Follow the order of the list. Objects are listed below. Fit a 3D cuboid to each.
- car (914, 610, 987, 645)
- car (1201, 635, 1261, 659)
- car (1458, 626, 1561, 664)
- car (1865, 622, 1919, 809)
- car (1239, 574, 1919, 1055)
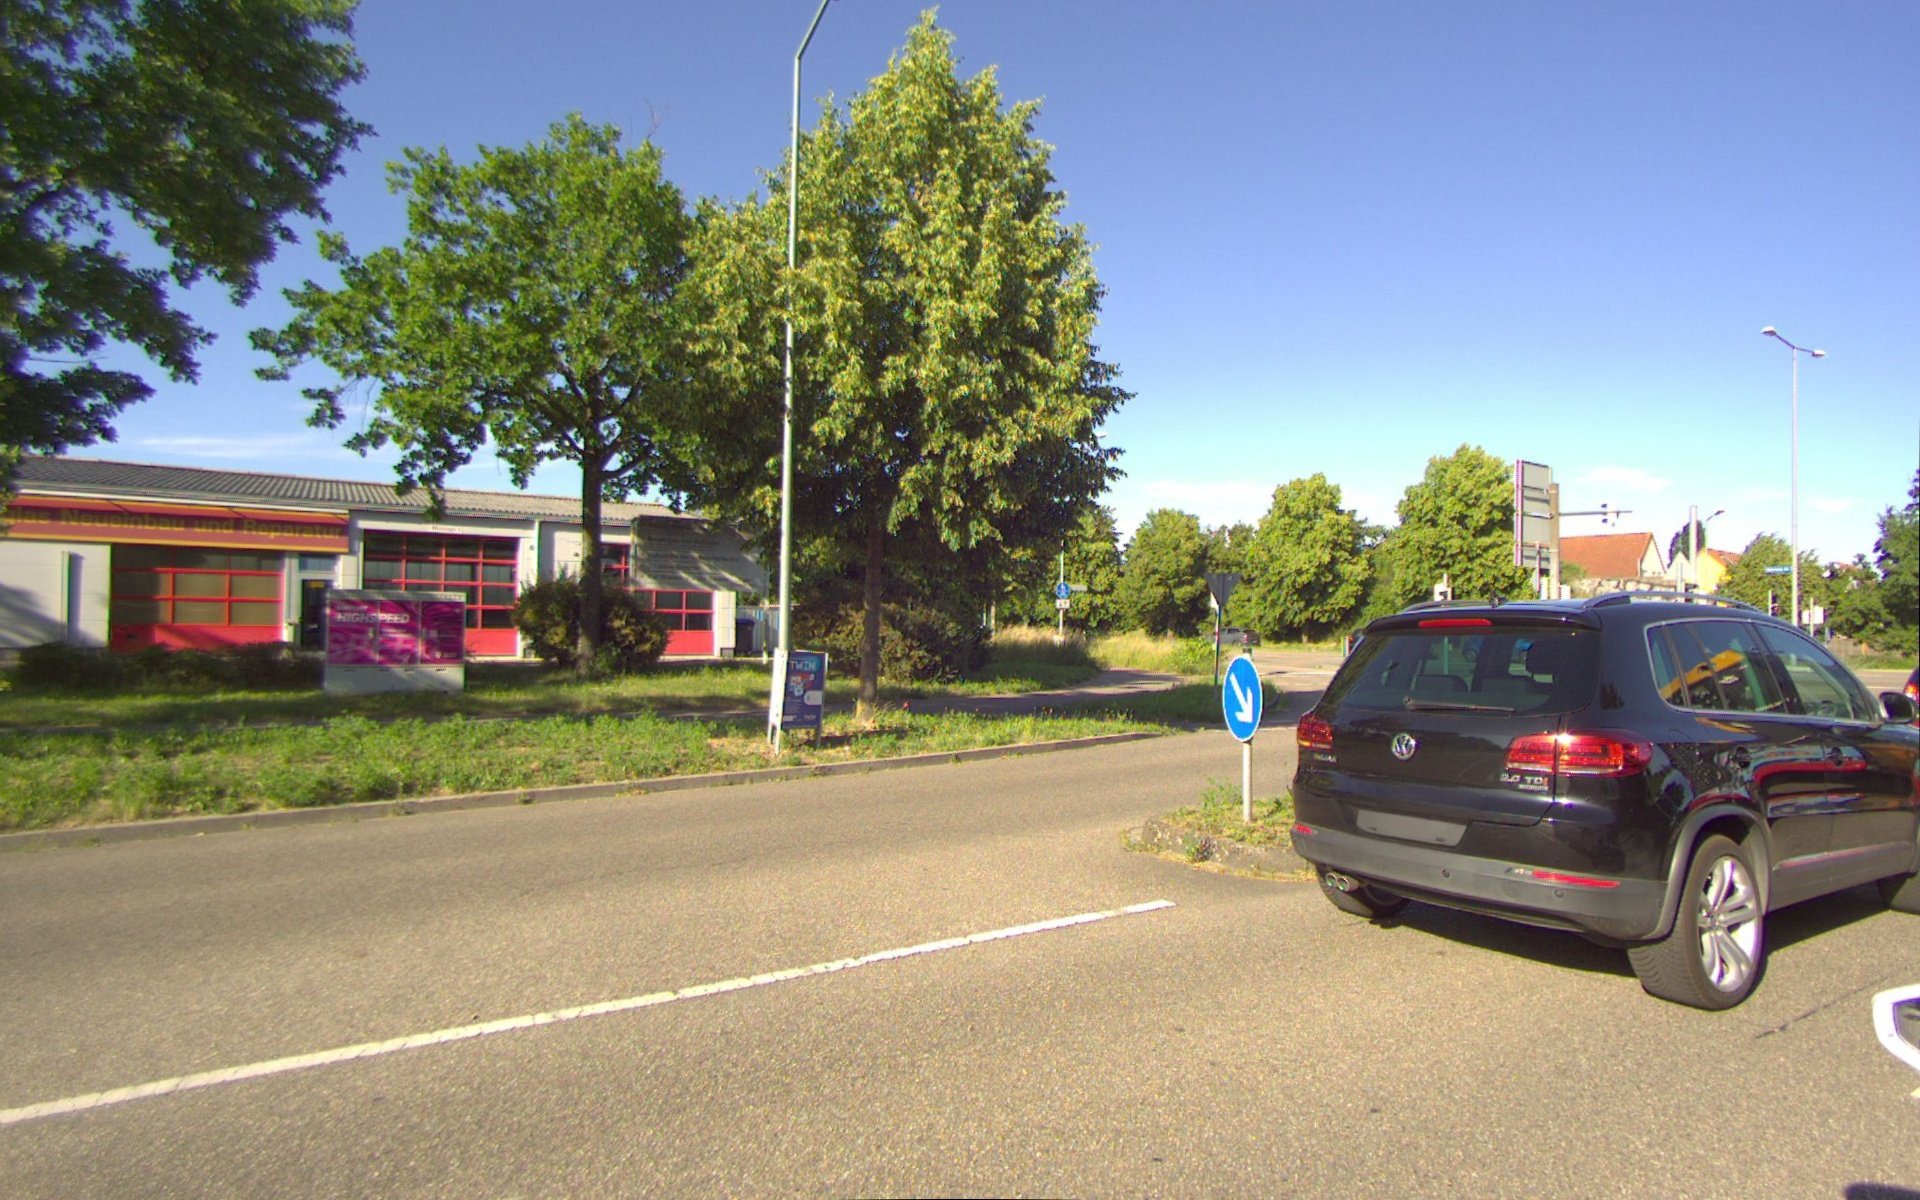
[{"bbox_3d":[-0.662,1.797,66.262,2.160,2.146,5.350,2,-1,-35],"label":"car"},{"bbox_3d":[17.894,3.088,66.505,1.567,1.478,3.547,2,-2,-45],"label":"car"},{"bbox_3d":[23.752,1.914,43.491,1.733,1.581,3.559,2,-2,-35],"label":"car"},{"bbox_3d":[10.224,1.012,9.210,3.954,1.610,1.753,1,-3,-31],"label":"car"},{"bbox_3d":[3.546,0.827,5.310,3.954,1.675,1.763,1,-3,-31],"label":"car"}]
